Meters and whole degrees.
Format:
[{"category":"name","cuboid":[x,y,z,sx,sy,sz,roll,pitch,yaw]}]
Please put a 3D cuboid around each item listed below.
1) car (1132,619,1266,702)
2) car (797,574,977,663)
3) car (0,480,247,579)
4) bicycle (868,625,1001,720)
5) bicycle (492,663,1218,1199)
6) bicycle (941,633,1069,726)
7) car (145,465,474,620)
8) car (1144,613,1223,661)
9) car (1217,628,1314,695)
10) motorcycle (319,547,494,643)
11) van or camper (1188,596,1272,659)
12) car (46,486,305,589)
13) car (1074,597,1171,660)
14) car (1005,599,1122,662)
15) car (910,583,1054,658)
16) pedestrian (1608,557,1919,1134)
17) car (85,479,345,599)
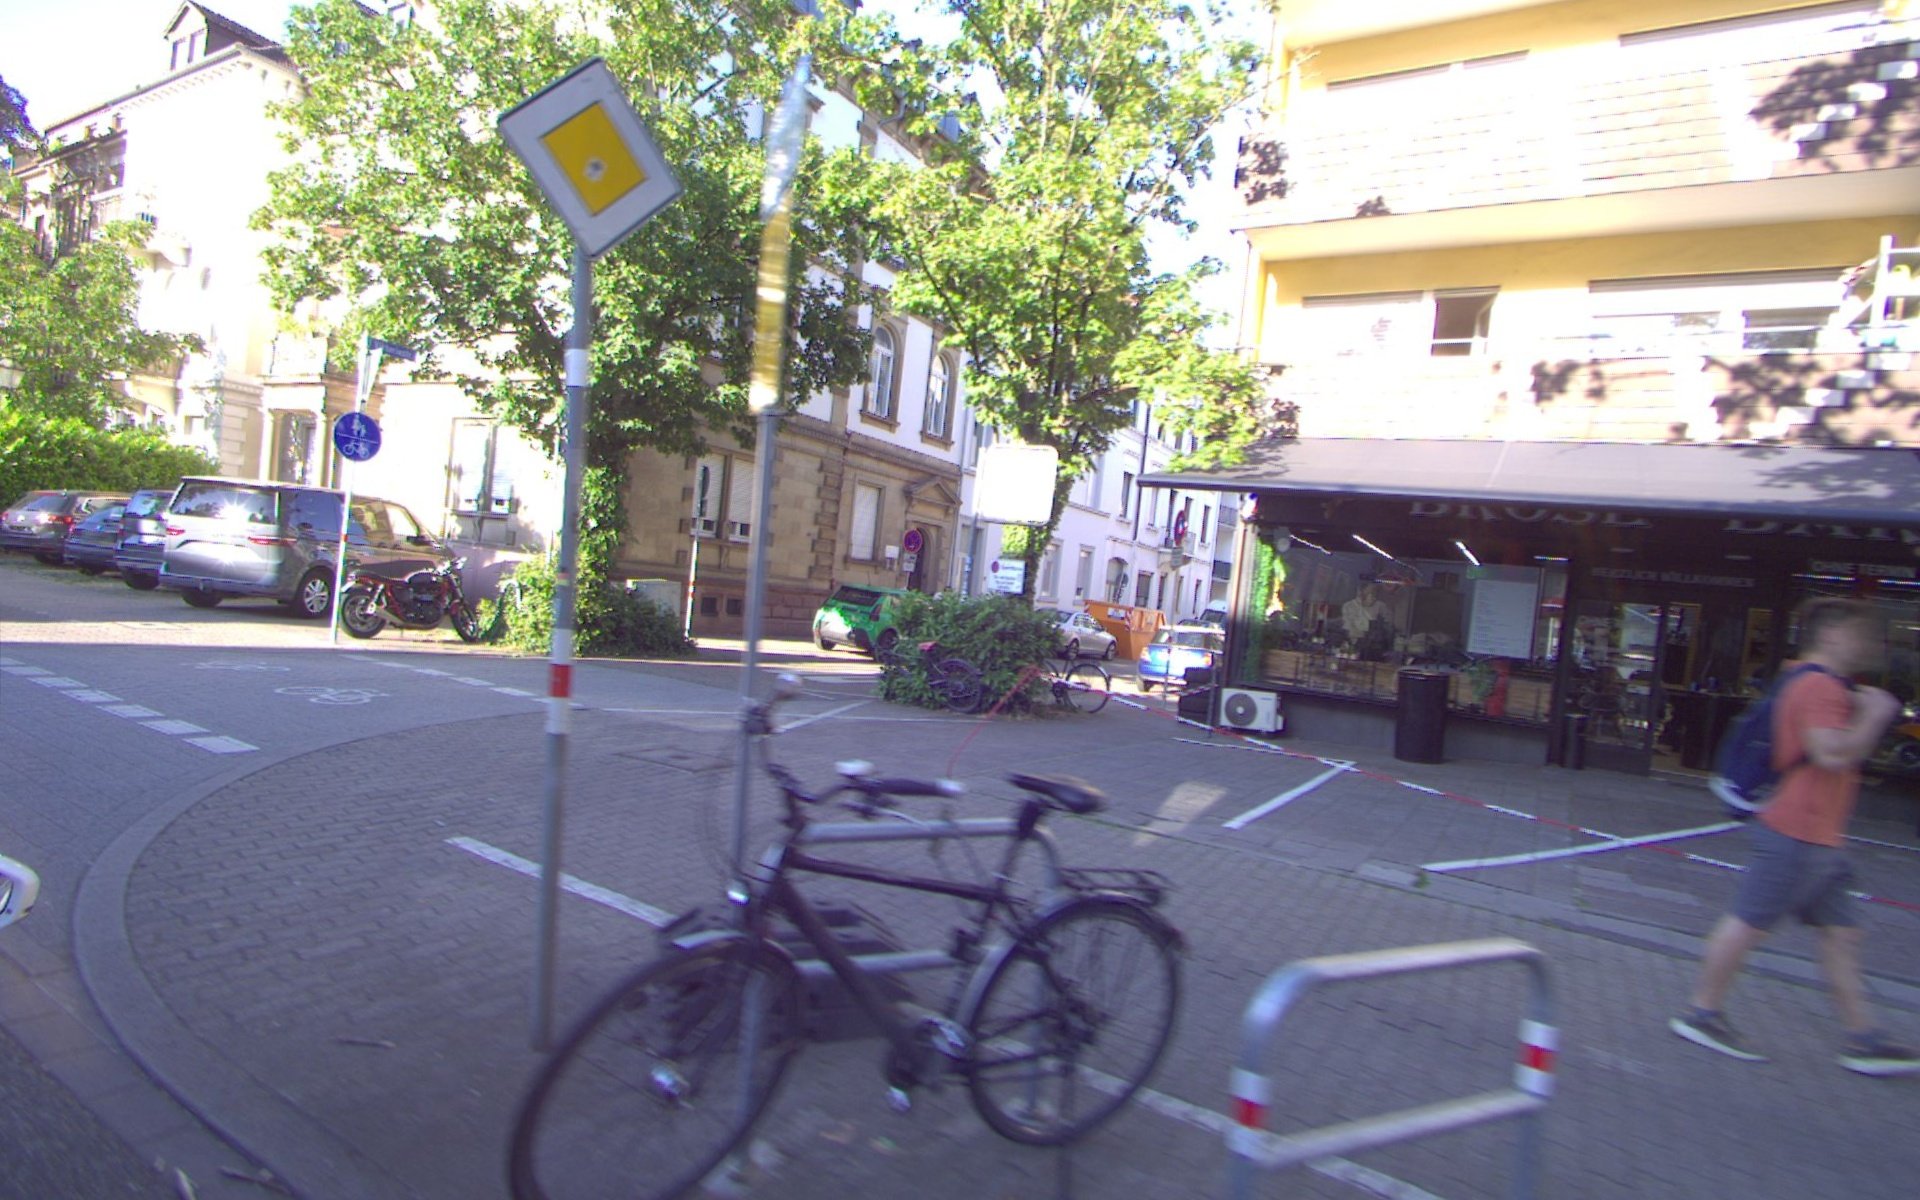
[{"category":"car","cuboid":[5.114,1.270,21.275,1.633,1.436,3.348,7,1,32]},{"category":"car","cuboid":[-1.516,0.451,22.235,1.897,1.605,3.920,7,1,32]},{"category":"car","cuboid":[-16.680,-1.330,20.203,1.483,1.544,3.813,6,1,10]},{"category":"bicycle","cuboid":[-0.327,0.886,12.455,1.554,0.961,0.343,6,-1,26]},{"category":"bicycle","cuboid":[-0.135,0.820,2.439,0.627,1.243,1.664,8,4,44]},{"category":"bicycle","cuboid":[0.562,0.986,12.812,1.554,0.963,0.342,6,4,26]},{"category":"car","cuboid":[-9.945,-0.779,15.936,1.878,1.917,4.547,6,1,4]},{"category":"car","cuboid":[9.074,1.513,40.664,1.897,1.605,3.649,7,1,32]},{"category":"car","cuboid":[7.876,1.565,25.805,1.475,1.436,3.139,7,1,32]},{"category":"motorcycle","cuboid":[-7.370,-0.023,13.523,0.516,1.139,2.055,7,1,26]},{"category":"van or camper","cuboid":[12.503,1.316,46.299,1.897,2.527,5.713,7,1,32]},{"category":"car","cuboid":[-14.812,-1.102,19.279,1.483,1.544,3.813,6,1,10]},{"category":"car","cuboid":[5.693,1.019,34.914,1.897,1.882,3.649,7,1,32]},{"category":"car","cuboid":[3.222,0.977,30.737,1.897,1.605,3.920,7,1,32]},{"category":"car","cuboid":[0.649,0.573,26.306,1.897,1.605,3.920,7,1,32]},{"category":"pedestrian","cuboid":[3.098,0.817,3.733,0.890,1.819,0.757,7,2,27]},{"category":"car","cuboid":[-12.814,-0.958,17.620,1.483,1.700,3.811,7,1,2]}]
